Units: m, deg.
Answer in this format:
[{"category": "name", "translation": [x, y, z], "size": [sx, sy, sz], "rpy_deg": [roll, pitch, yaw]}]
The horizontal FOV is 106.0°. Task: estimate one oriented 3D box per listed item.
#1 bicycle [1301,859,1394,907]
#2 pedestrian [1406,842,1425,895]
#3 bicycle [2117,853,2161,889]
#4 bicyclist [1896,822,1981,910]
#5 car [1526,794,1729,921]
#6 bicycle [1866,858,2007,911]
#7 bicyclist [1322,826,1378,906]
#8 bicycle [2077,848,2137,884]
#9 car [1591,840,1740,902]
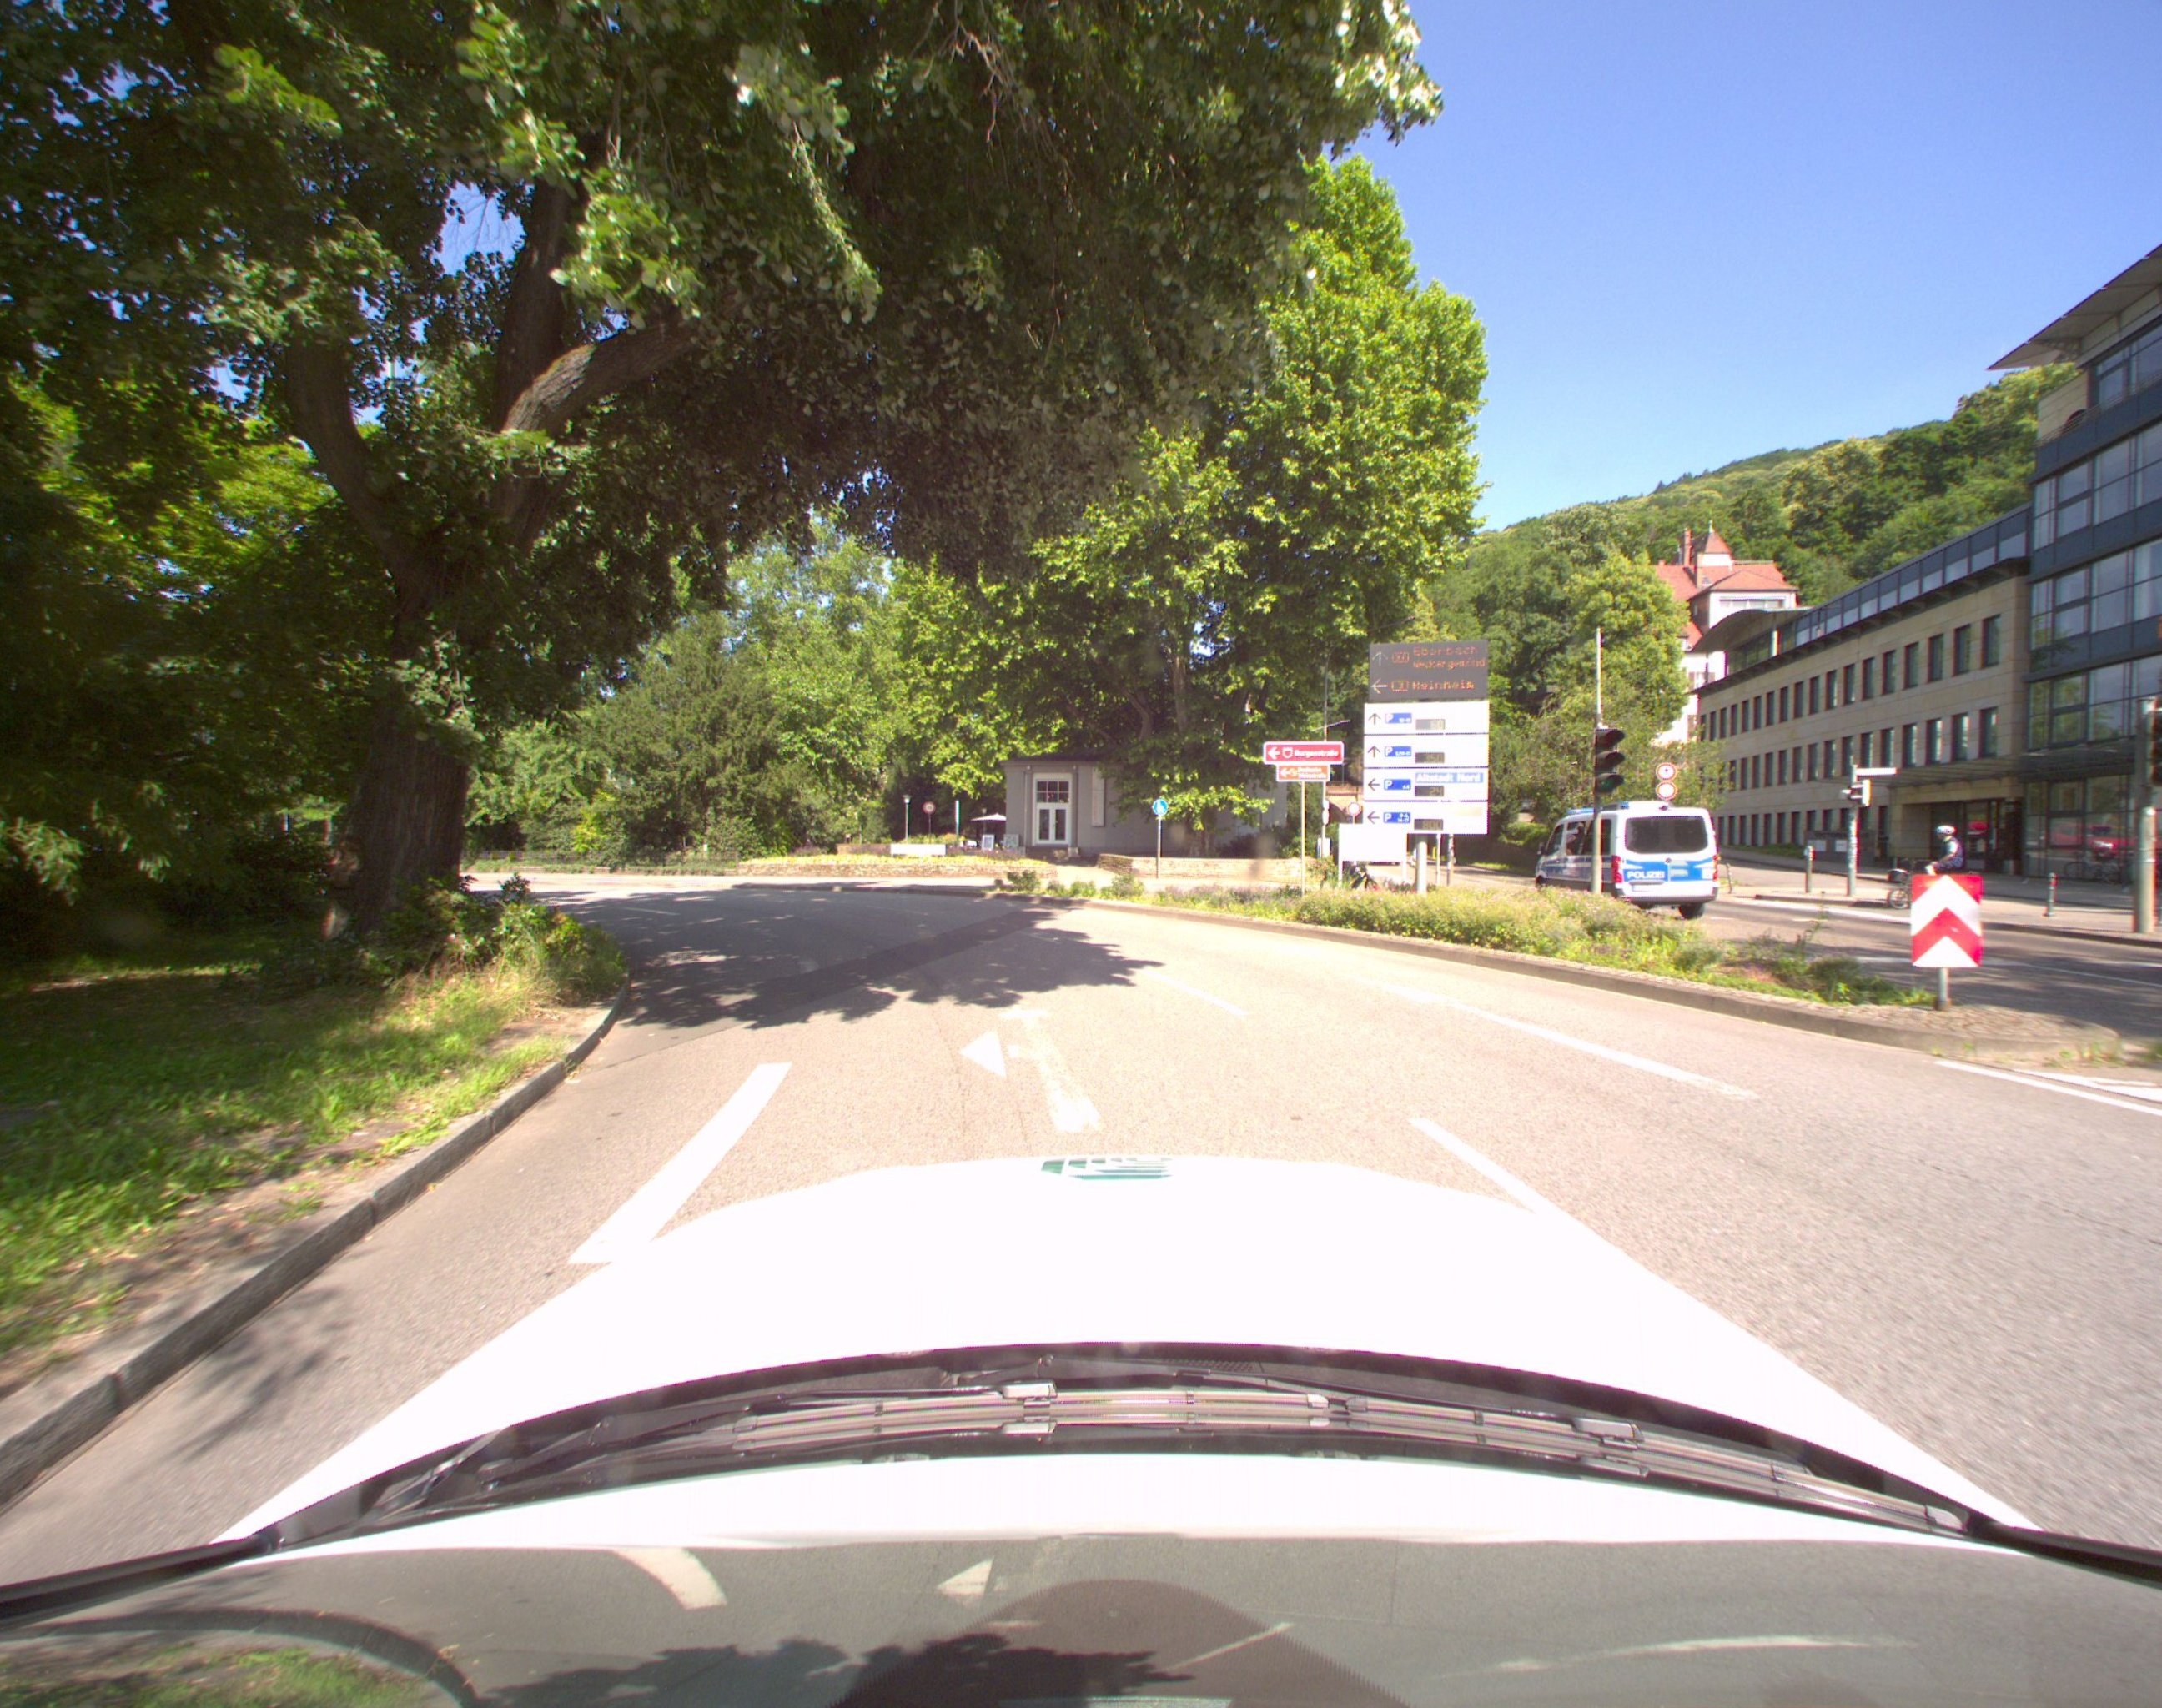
[{"category": "bicycle", "translation": [6.670, 0.696, 20.448], "size": [2.057, 1.112, 0.761], "rpy_deg": [1, 1, 40]}, {"category": "pedestrian", "translation": [10.382, 0.425, 25.262], "size": [0.542, 1.621, 0.638], "rpy_deg": [0, 1, 24]}, {"category": "bicycle", "translation": [29.655, 0.457, 22.596], "size": [0.402, 0.941, 1.347], "rpy_deg": [0, 1, 16]}, {"category": "bicyclist", "translation": [19.359, 0.251, 18.415], "size": [1.115, 1.932, 0.753], "rpy_deg": [1, 0, 28]}, {"category": "car", "translation": [12.247, 0.039, 18.734], "size": [2.060, 2.508, 4.944], "rpy_deg": [1, 0, 11]}, {"category": "bicycle", "translation": [19.302, 0.670, 18.447], "size": [2.057, 1.112, 0.761], "rpy_deg": [1, 1, 27]}, {"category": "bicyclist", "translation": [6.727, 0.285, 20.394], "size": [1.115, 1.932, 0.753], "rpy_deg": [1, 0, 40]}, {"category": "bicycle", "translation": [30.311, 0.341, 24.080], "size": [0.402, 1.012, 1.347], "rpy_deg": [0, 1, 16]}, {"category": "car", "translation": [16.416, 0.400, 23.162], "size": [1.709, 1.541, 4.283], "rpy_deg": [2, 1, 9]}]
